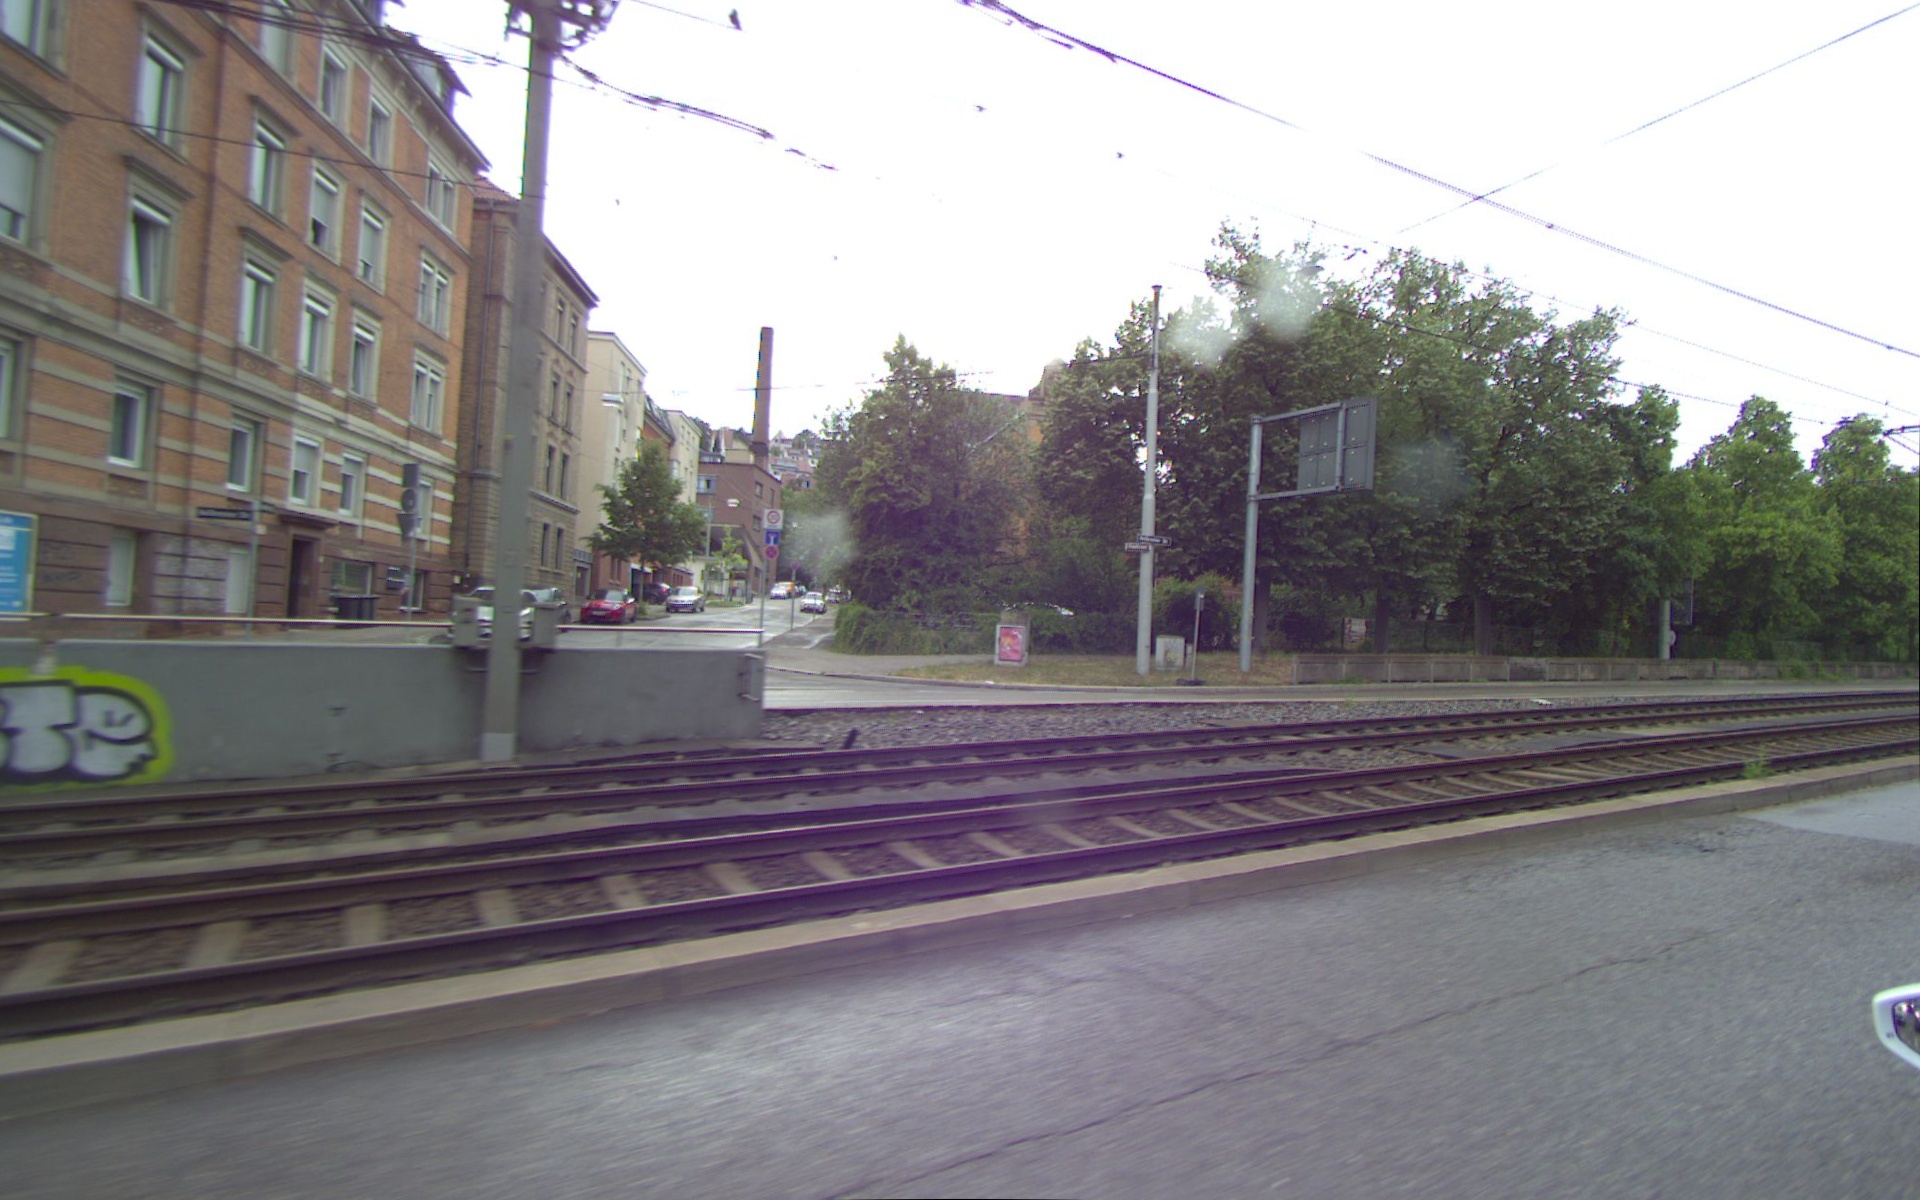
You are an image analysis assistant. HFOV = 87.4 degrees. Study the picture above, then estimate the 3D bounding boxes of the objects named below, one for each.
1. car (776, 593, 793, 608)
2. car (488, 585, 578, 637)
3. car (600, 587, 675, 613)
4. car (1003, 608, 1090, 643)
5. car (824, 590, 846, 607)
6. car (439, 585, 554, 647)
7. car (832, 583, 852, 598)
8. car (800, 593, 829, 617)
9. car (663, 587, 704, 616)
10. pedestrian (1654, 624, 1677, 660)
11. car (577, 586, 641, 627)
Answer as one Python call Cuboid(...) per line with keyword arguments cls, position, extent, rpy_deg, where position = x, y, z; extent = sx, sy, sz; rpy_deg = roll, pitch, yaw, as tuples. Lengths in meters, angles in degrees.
Cuboid(cls="car", position=(-19.742, 0.021, 113.139), extent=(1.655, 1.522, 3.809), rpy_deg=(5, 0, -8))
Cuboid(cls="car", position=(-14.483, 0.321, 34.300), extent=(1.872, 1.522, 3.949), rpy_deg=(5, 0, -10))
Cuboid(cls="car", position=(-21.334, -0.006, 66.539), extent=(4.415, 1.530, 1.799), rpy_deg=(2, 0, -6))
Cuboid(cls="car", position=(3.623, 1.065, 42.013), extent=(3.285, 1.293, 1.457), rpy_deg=(2, 0, -20))
Cuboid(cls="car", position=(-12.378, -0.145, 99.787), extent=(1.765, 1.530, 3.998), rpy_deg=(2, 0, -2))
Cuboid(cls="car", position=(-13.303, 0.409, 29.122), extent=(1.872, 1.522, 4.351), rpy_deg=(5, 0, -10))
Cuboid(cls="car", position=(-12.610, -1.000, 107.467), extent=(1.765, 1.530, 3.998), rpy_deg=(2, 0, -2))
Cuboid(cls="car", position=(-10.596, 0.329, 73.141), extent=(1.654, 1.522, 3.812), rpy_deg=(5, 0, -3))
Cuboid(cls="car", position=(-15.996, 0.051, 58.219), extent=(1.655, 1.522, 3.809), rpy_deg=(5, 0, -8))
Cuboid(cls="pedestrian", position=(33.688, 2.013, 47.994), extent=(0.642, 1.683, 0.645), rpy_deg=(1, -3, -29))
Cuboid(cls="car", position=(-14.684, 0.252, 42.225), extent=(1.717, 1.522, 3.809), rpy_deg=(5, 0, -8))
